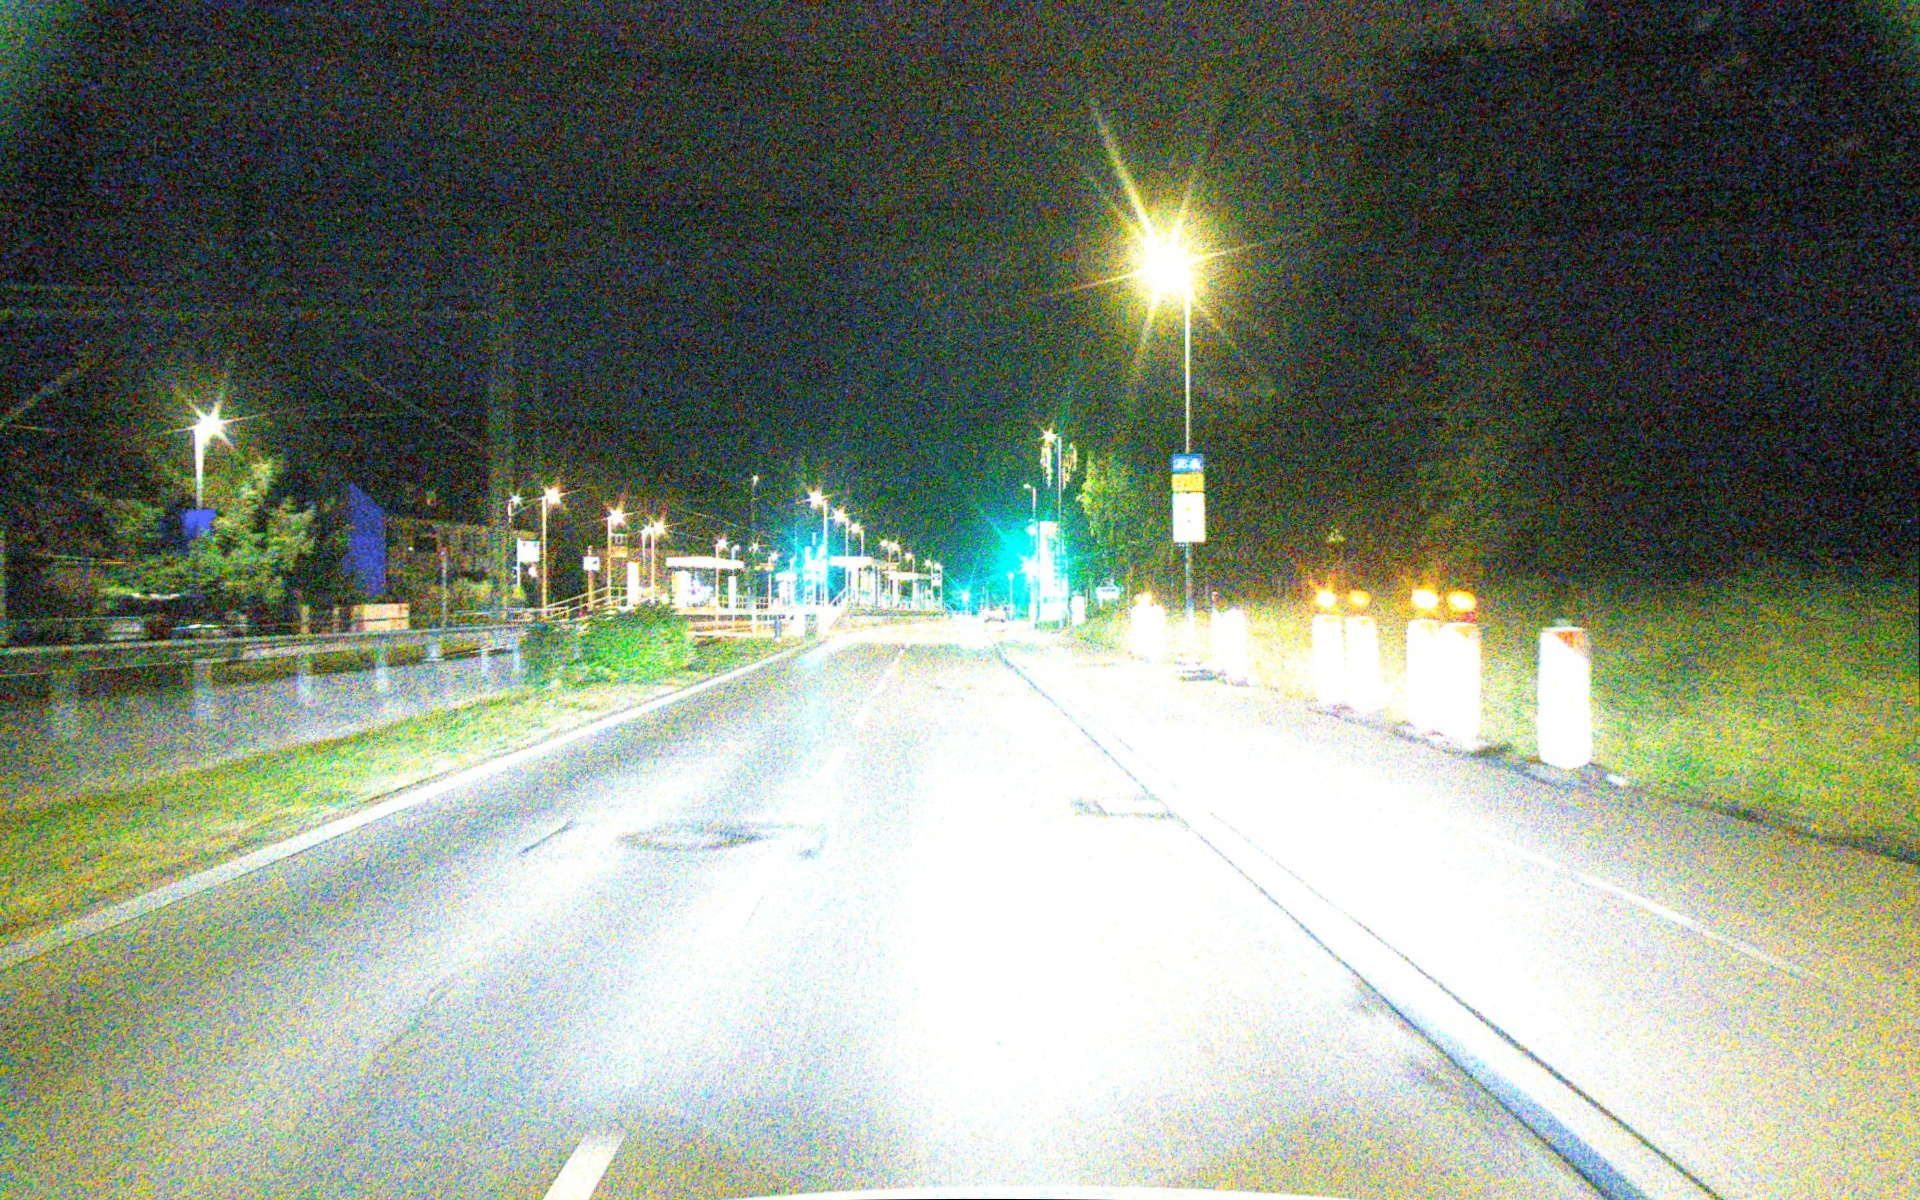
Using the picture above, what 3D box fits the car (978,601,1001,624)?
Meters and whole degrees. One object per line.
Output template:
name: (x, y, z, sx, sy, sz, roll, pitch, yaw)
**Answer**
car: (2.751, 1.177, 153.916, 2.044, 2.049, 4.000, -1, 0, 0)
